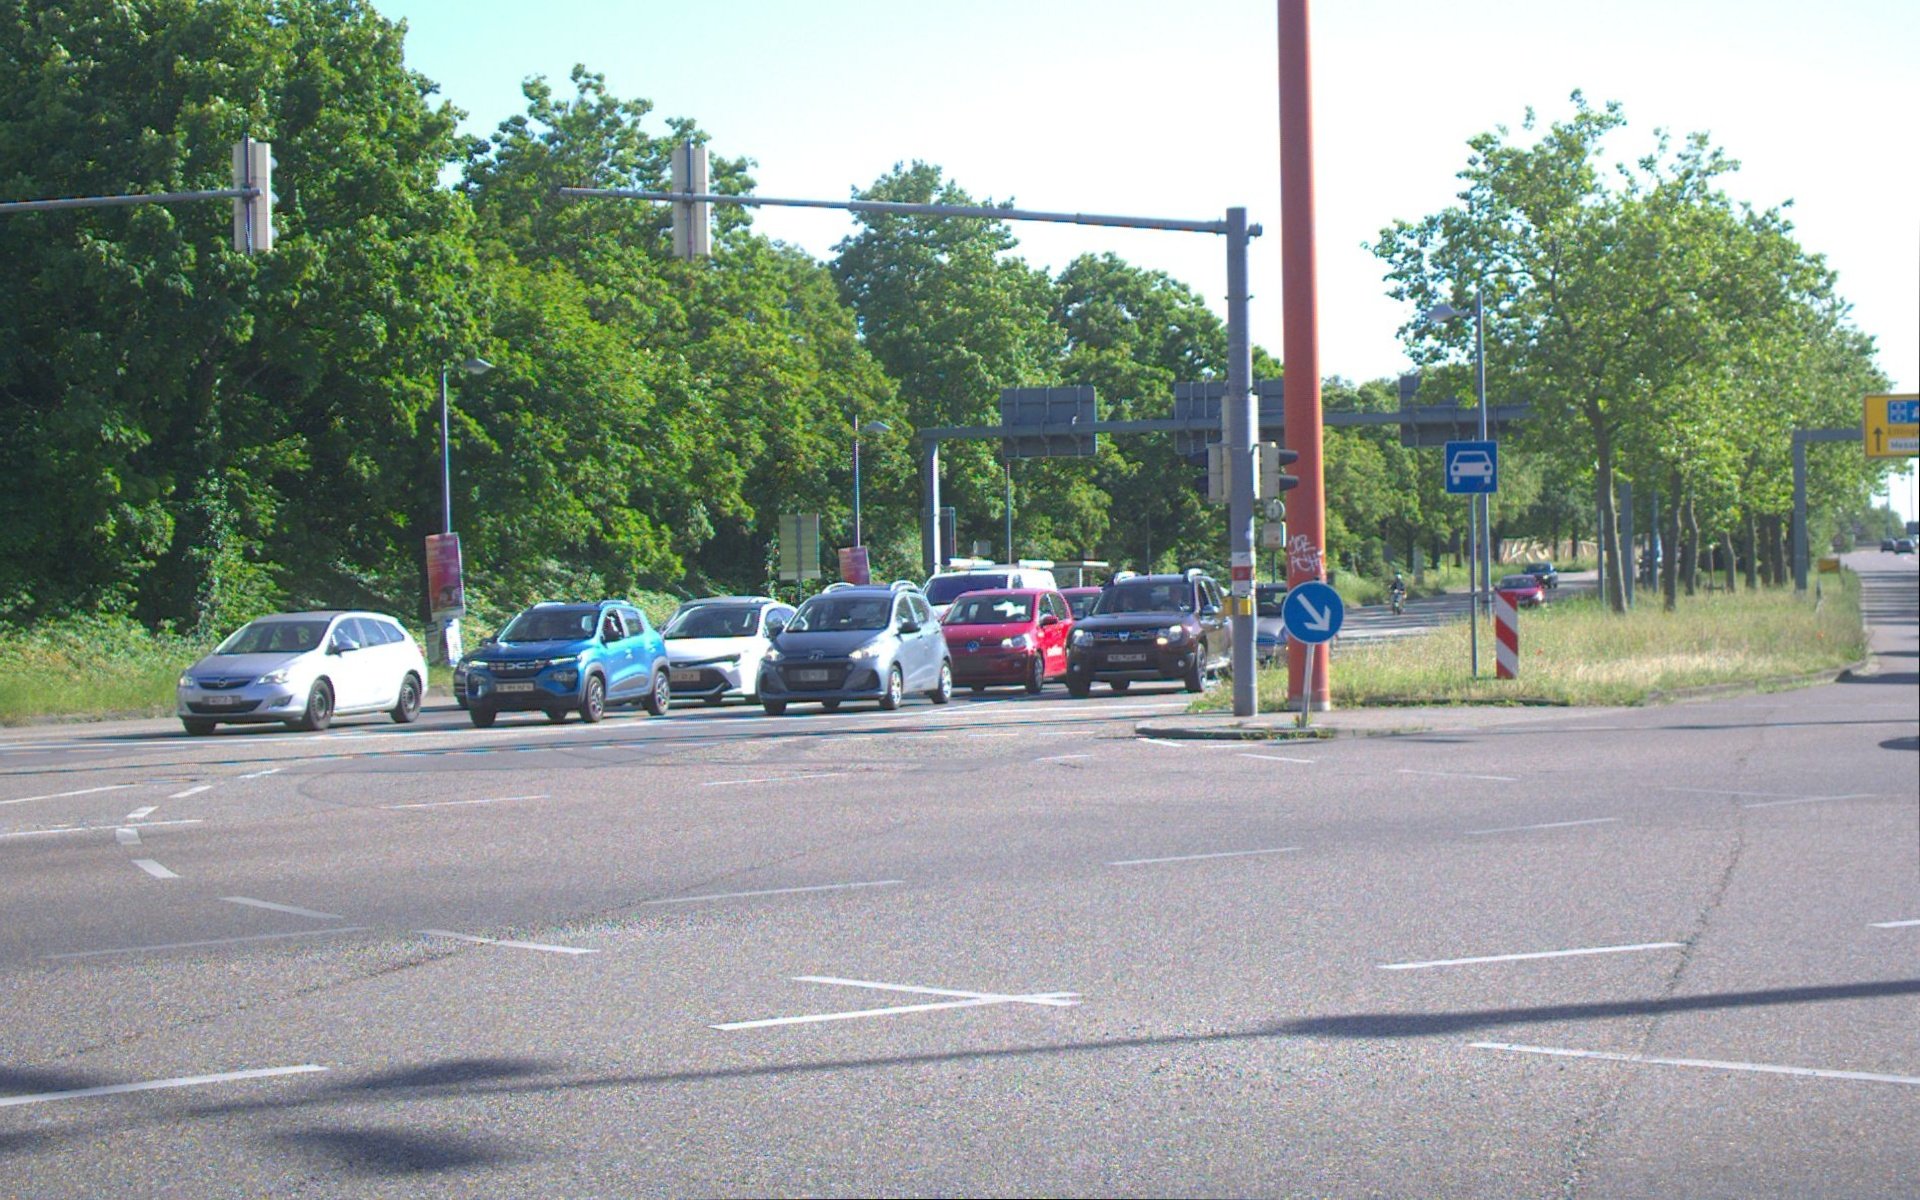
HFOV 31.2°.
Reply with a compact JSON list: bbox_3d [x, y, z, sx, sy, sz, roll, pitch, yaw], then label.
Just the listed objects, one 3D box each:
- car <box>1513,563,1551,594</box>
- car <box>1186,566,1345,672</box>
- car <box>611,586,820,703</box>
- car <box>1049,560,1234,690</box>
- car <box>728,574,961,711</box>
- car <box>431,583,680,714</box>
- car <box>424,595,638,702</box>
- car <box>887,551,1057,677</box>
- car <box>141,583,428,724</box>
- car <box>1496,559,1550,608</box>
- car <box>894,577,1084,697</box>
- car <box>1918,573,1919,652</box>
[{"bbox_3d":[34.210,-1.295,205.612,1.916,1.840,3.958,-1,0,14],"label":"car"},{"bbox_3d":[4.796,0.269,53.537,1.886,1.538,3.998,-2,0,13],"label":"car"},{"bbox_3d":[-3.419,0.601,48.811,1.902,1.549,3.998,-2,0,12],"label":"car"},{"bbox_3d":[2.501,0.307,46.405,1.794,1.621,4.141,-2,0,13],"label":"car"},{"bbox_3d":[-1.392,0.495,43.171,1.875,1.545,4.025,-2,0,13],"label":"car"},{"bbox_3d":[-4.982,0.575,42.865,1.802,1.510,3.856,-2,0,14],"label":"car"},{"bbox_3d":[-6.519,0.715,52.651,1.886,1.508,3.997,-2,0,14],"label":"car"},{"bbox_3d":[0.270,0.228,61.849,1.962,2.148,5.078,-1,0,13],"label":"car"},{"bbox_3d":[-8.459,0.649,43.436,1.878,1.646,4.216,-2,-1,14],"label":"car"},{"bbox_3d":[21.588,-0.626,131.853,1.916,1.840,3.960,-1,0,8],"label":"car"},{"bbox_3d":[0.463,0.503,49.237,1.876,1.547,3.998,-4,-1,12],"label":"car"},{"bbox_3d":[18.697,0.236,63.522,1.805,1.488,4.679,1,0,14],"label":"car"}]
